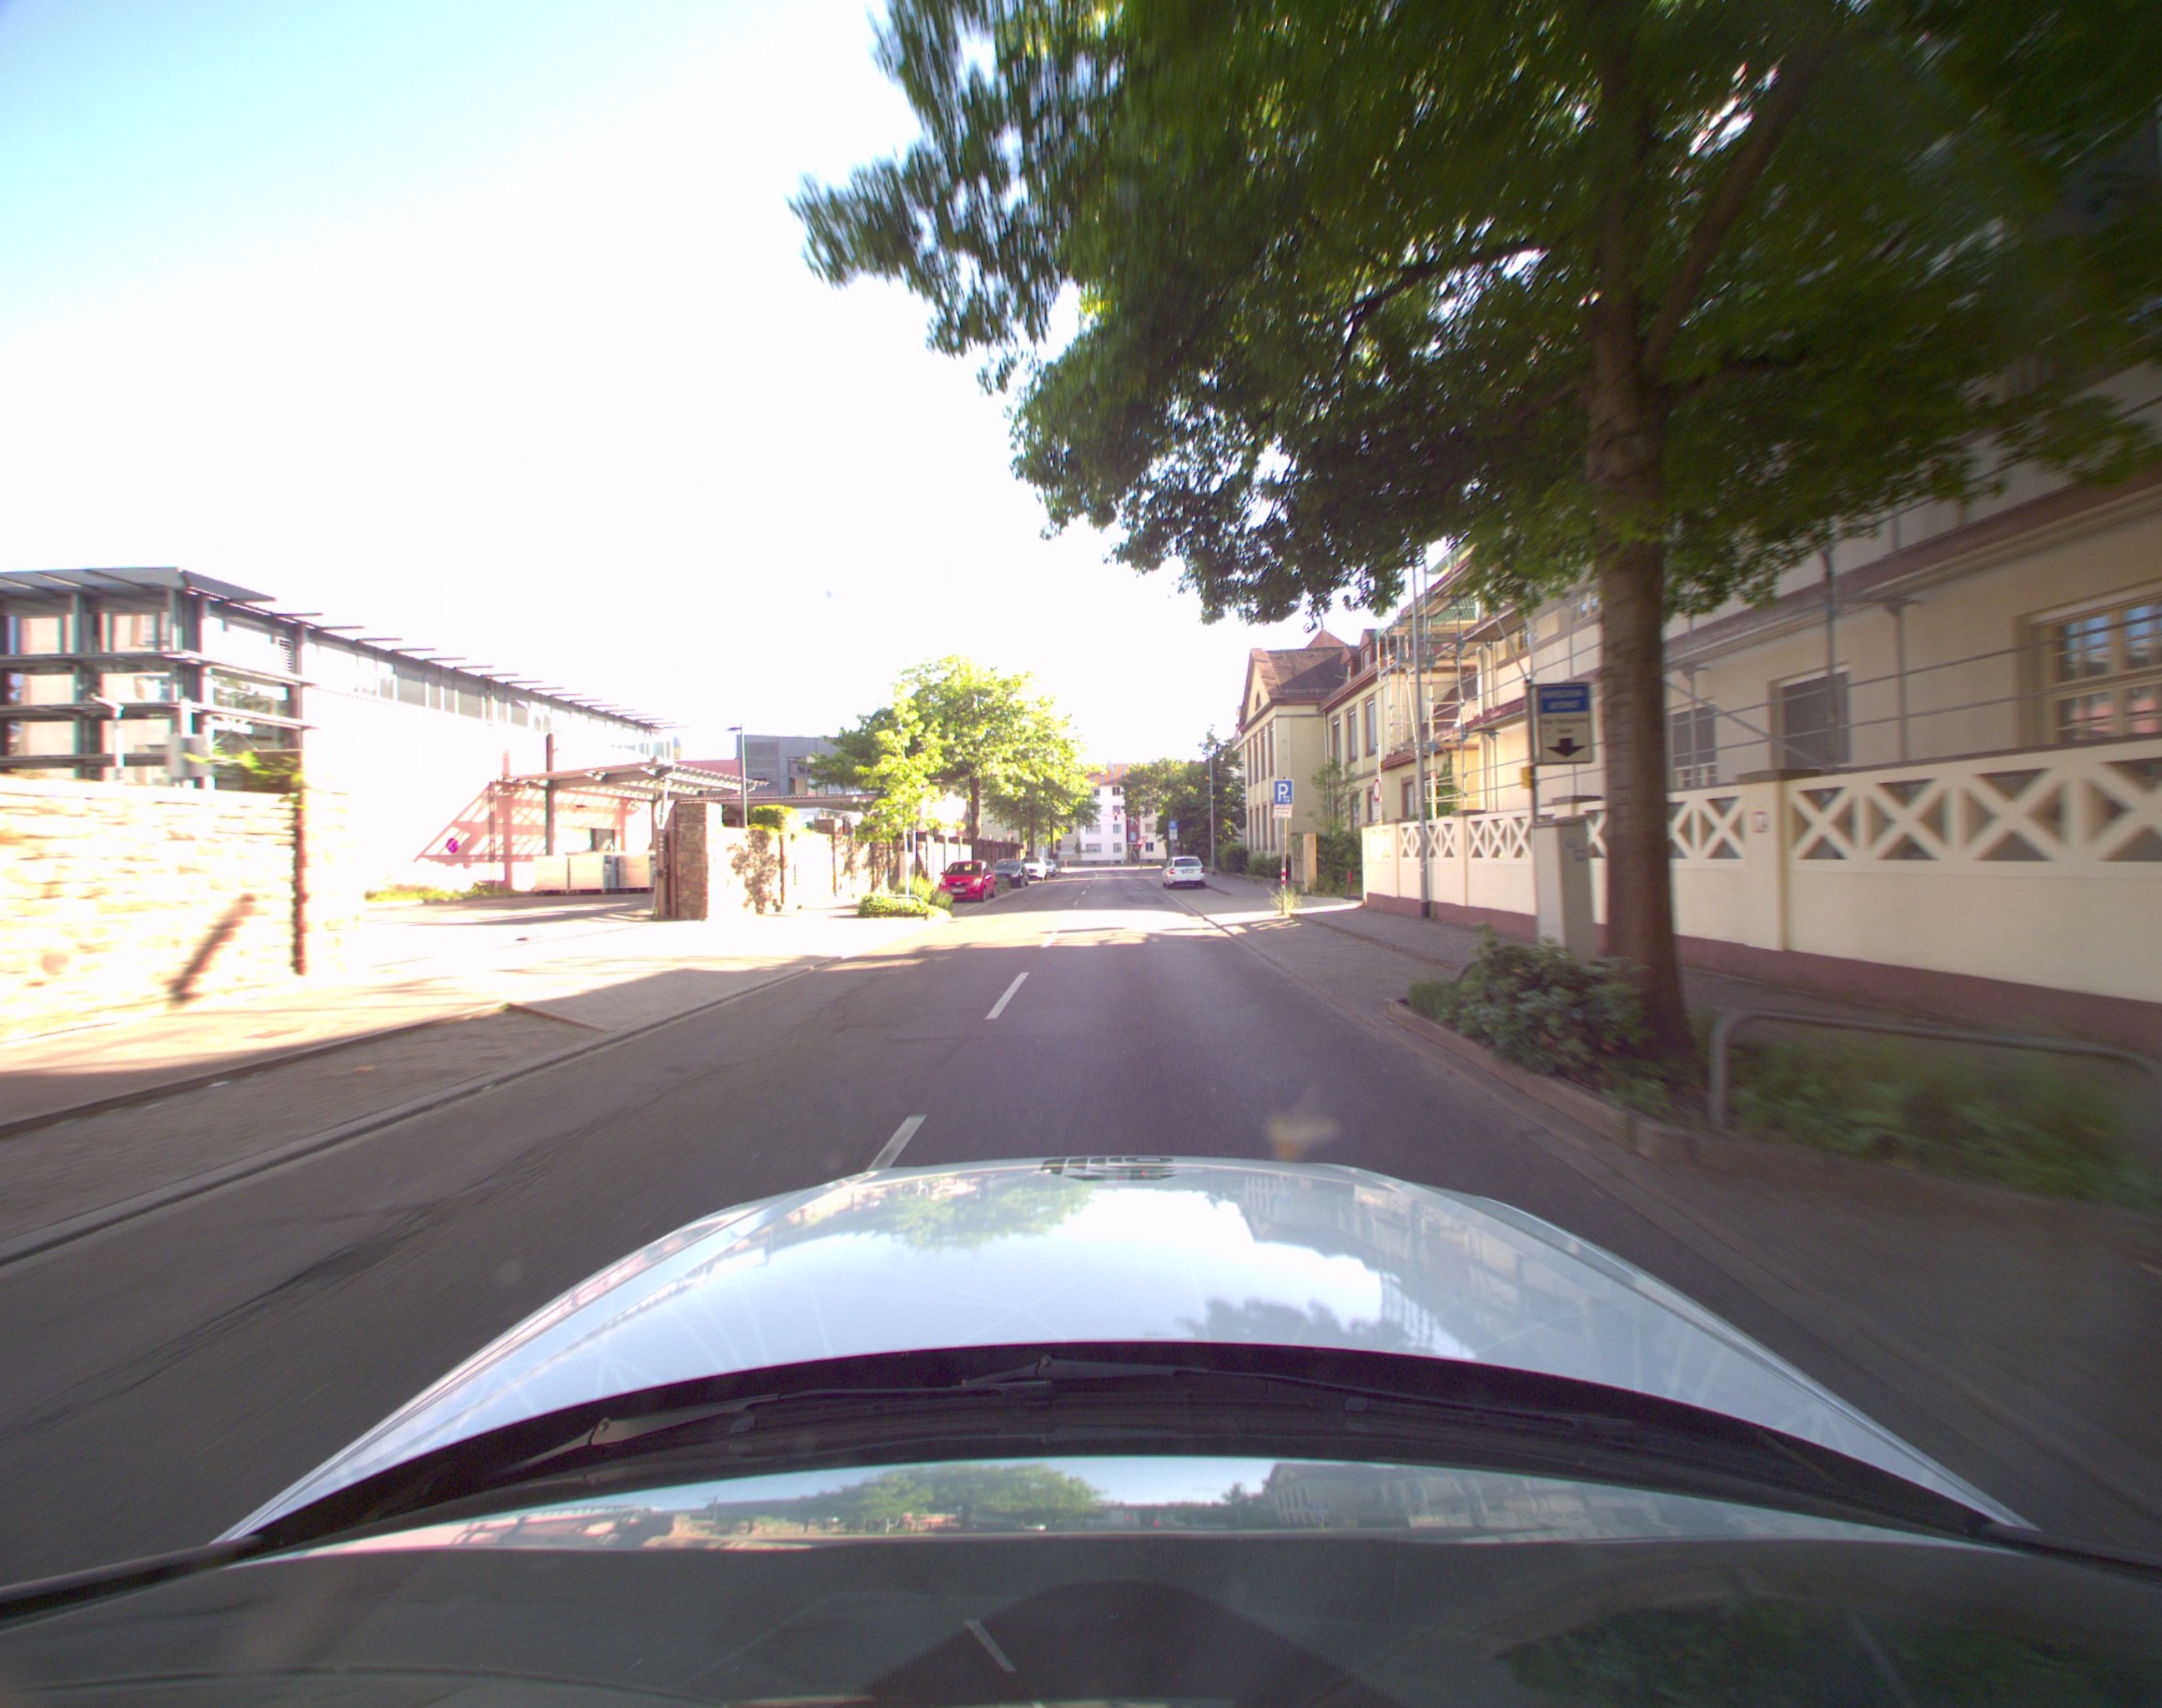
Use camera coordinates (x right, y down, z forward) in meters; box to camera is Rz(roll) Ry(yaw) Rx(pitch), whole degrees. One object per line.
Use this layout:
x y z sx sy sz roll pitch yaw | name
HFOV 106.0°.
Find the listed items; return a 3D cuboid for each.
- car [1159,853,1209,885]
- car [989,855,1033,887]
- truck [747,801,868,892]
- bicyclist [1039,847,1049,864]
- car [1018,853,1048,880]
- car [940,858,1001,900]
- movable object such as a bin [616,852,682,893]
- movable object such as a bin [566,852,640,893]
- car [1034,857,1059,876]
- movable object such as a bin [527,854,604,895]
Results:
4.747 0.651 38.007 1.826 1.323 4.497 -2 0 1 | car
-3.694 0.869 43.814 1.730 1.592 4.110 -1 0 3 | car
-12.105 -0.310 36.874 2.722 3.711 7.431 0 0 2 | truck
-4.013 0.181 87.915 0.793 1.757 0.605 -1 0 -39 | bicyclist
-3.171 0.782 54.628 1.714 1.683 4.351 -1 0 1 | car
-4.087 0.876 30.666 1.602 1.459 3.710 0 0 2 | car
-17.367 0.716 32.837 1.322 1.598 2.554 0 0 0 | movable object such as a bin
-18.820 0.705 32.186 1.403 1.538 2.554 0 0 0 | movable object such as a bin
-2.804 0.977 66.771 1.720 1.475 4.480 0 0 2 | car
-20.294 0.773 32.144 1.403 1.538 2.554 0 0 0 | movable object such as a bin
